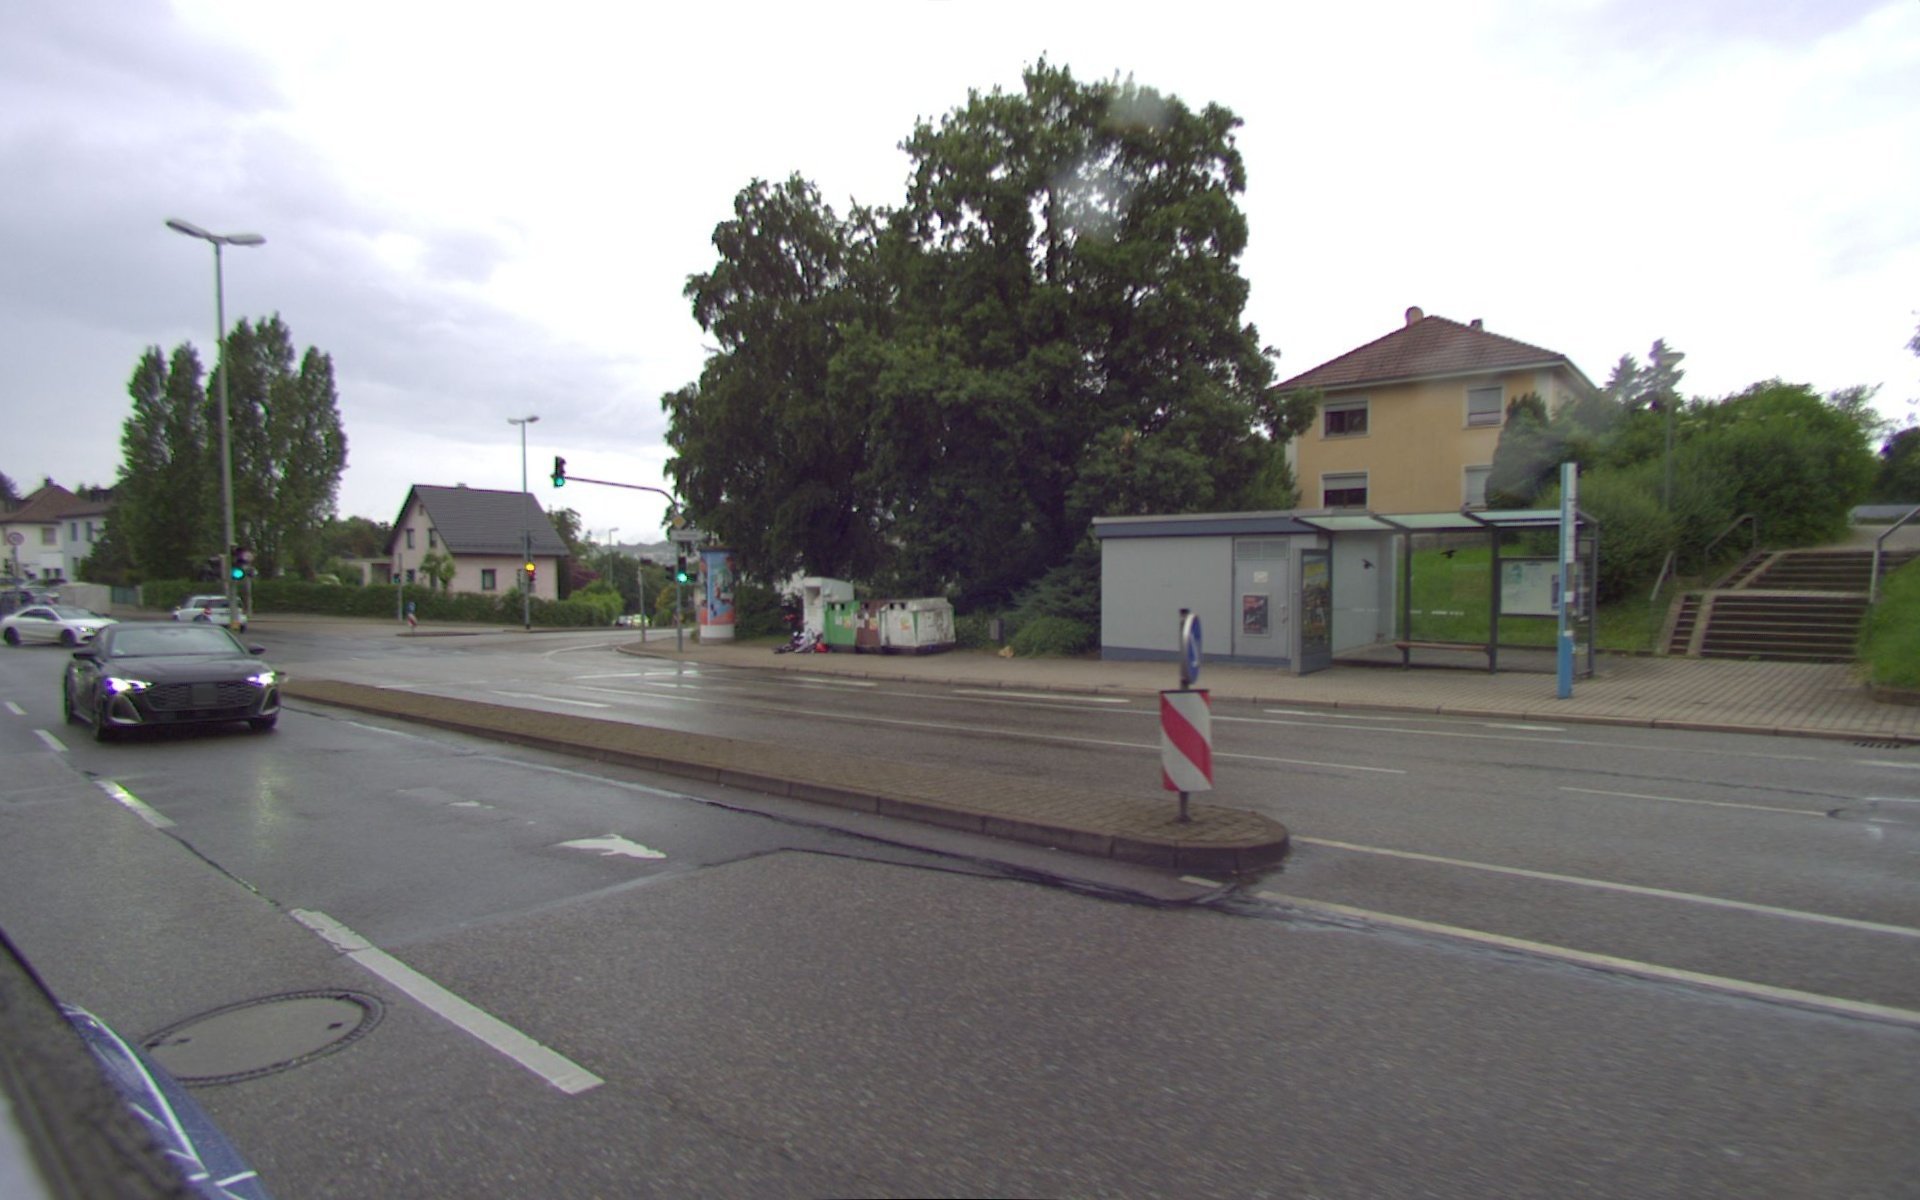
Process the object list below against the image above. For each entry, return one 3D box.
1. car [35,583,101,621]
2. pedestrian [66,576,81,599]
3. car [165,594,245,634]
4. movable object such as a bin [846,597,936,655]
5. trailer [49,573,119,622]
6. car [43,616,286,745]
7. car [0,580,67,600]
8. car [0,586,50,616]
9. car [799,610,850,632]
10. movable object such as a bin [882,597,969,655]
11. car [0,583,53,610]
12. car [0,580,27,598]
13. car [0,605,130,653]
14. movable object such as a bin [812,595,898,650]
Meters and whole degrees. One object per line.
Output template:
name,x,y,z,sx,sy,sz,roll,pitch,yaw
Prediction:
car,-44.045,0.080,49.932,4.477,1.695,1.880,2,2,41
pedestrian,-68.793,-0.975,78.534,0.539,1.801,0.662,2,5,37
car,-34.154,0.599,45.737,4.461,1.669,1.806,1,0,39
movable object such as a bin,-1.987,0.718,29.119,2.034,1.580,1.582,0,-1,-45
trailer,-40.799,-0.141,47.111,4.033,2.195,1.877,0,1,41
car,-10.941,0.944,13.770,4.857,1.408,1.885,-1,0,43
car,-74.201,-0.812,80.821,1.879,1.430,3.955,1,4,33
car,-51.567,0.032,55.523,4.381,1.563,1.822,1,0,40
car,-11.707,1.825,87.222,4.022,1.863,1.945,1,0,-19
movable object such as a bin,-0.942,0.693,28.057,1.345,1.526,2.034,-1,-1,45
car,-59.638,-0.254,64.491,4.132,1.580,1.790,2,2,34
car,-82.593,-0.907,86.370,1.879,1.430,4.066,1,3,33
car,-32.640,1.013,36.484,4.608,1.540,1.905,1,1,15
movable object such as a bin,-3.129,0.662,30.241,2.034,1.580,1.582,0,-1,-45
